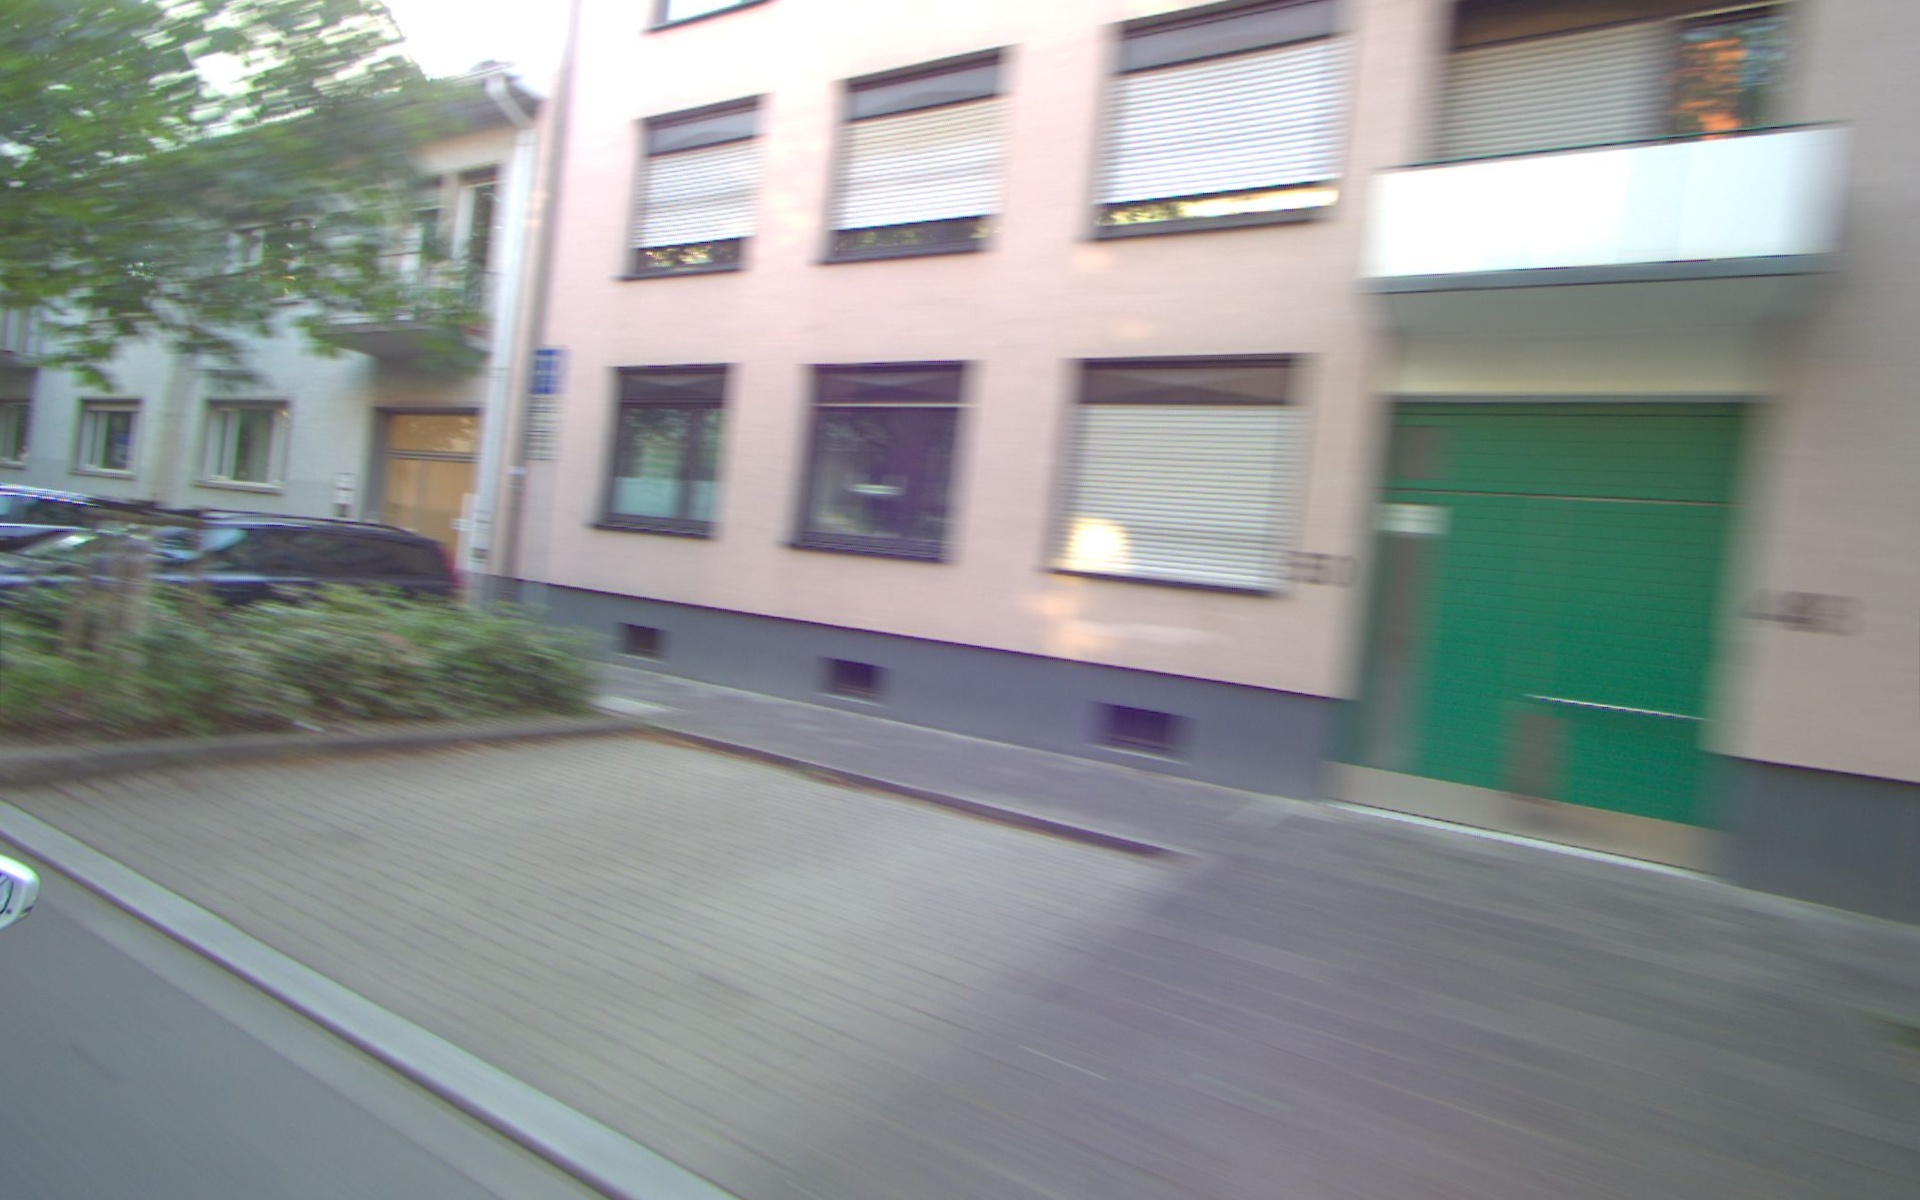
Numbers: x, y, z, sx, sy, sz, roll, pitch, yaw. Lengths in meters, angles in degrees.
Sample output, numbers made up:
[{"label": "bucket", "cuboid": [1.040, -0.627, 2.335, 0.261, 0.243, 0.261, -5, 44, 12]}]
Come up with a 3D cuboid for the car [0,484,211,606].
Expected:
[{"label": "car", "cuboid": [-12.436, -0.776, 12.428, 1.967, 1.407, 4.678, 7, 2, 32]}]

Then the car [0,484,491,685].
[{"label": "car", "cuboid": [-7.108, -0.145, 9.063, 2.008, 1.467, 4.841, 7, 1, 32]}]
